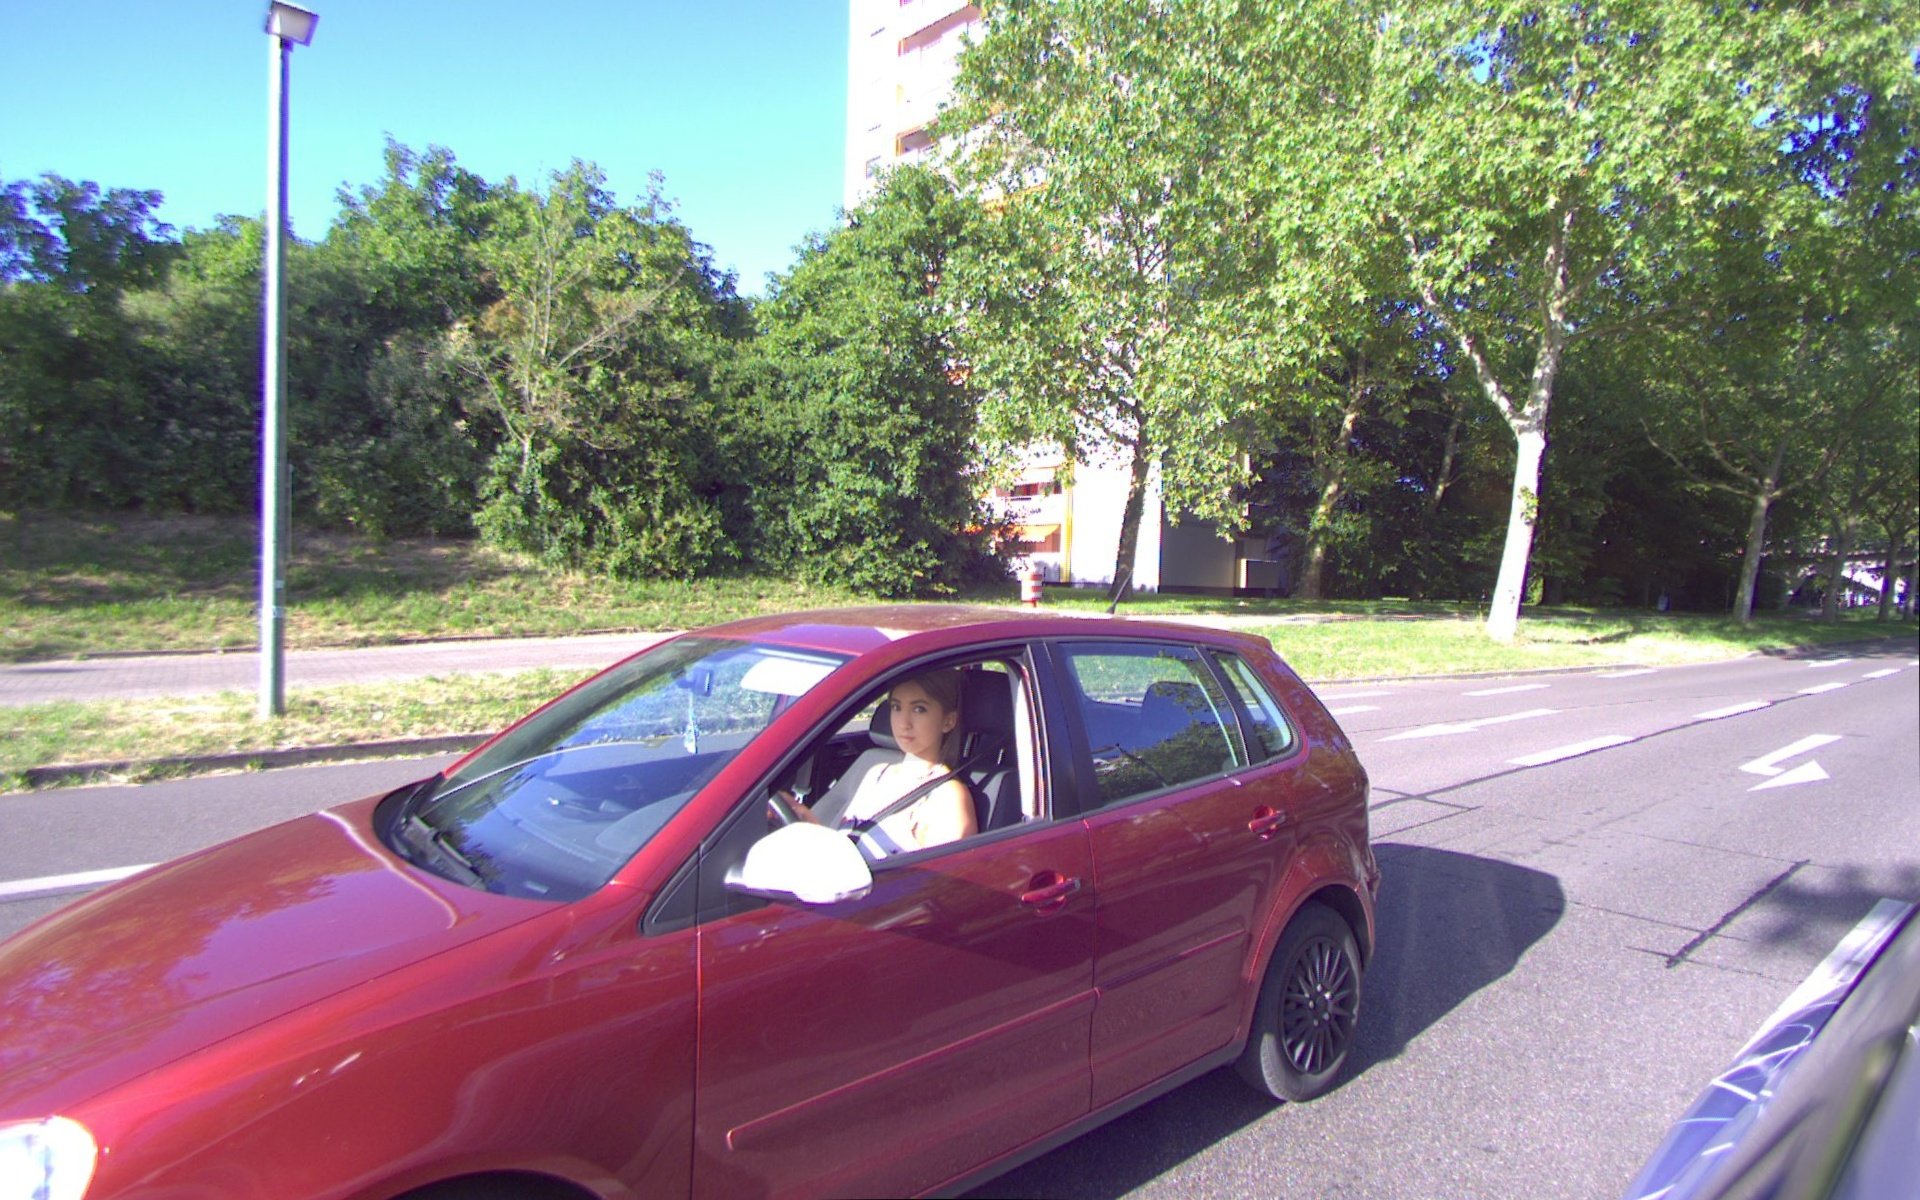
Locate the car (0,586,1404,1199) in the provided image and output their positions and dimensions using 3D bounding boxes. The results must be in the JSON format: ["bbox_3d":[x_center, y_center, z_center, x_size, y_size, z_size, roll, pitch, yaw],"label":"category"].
[{"bbox_3d":[-0.443,0.709,2.728,3.624,1.479,1.579,-1,0,-40],"label":"car"}]

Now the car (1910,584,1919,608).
[{"bbox_3d":[83.221,-0.314,85.189,4.701,1.959,1.879,1,1,41],"label":"car"}]
